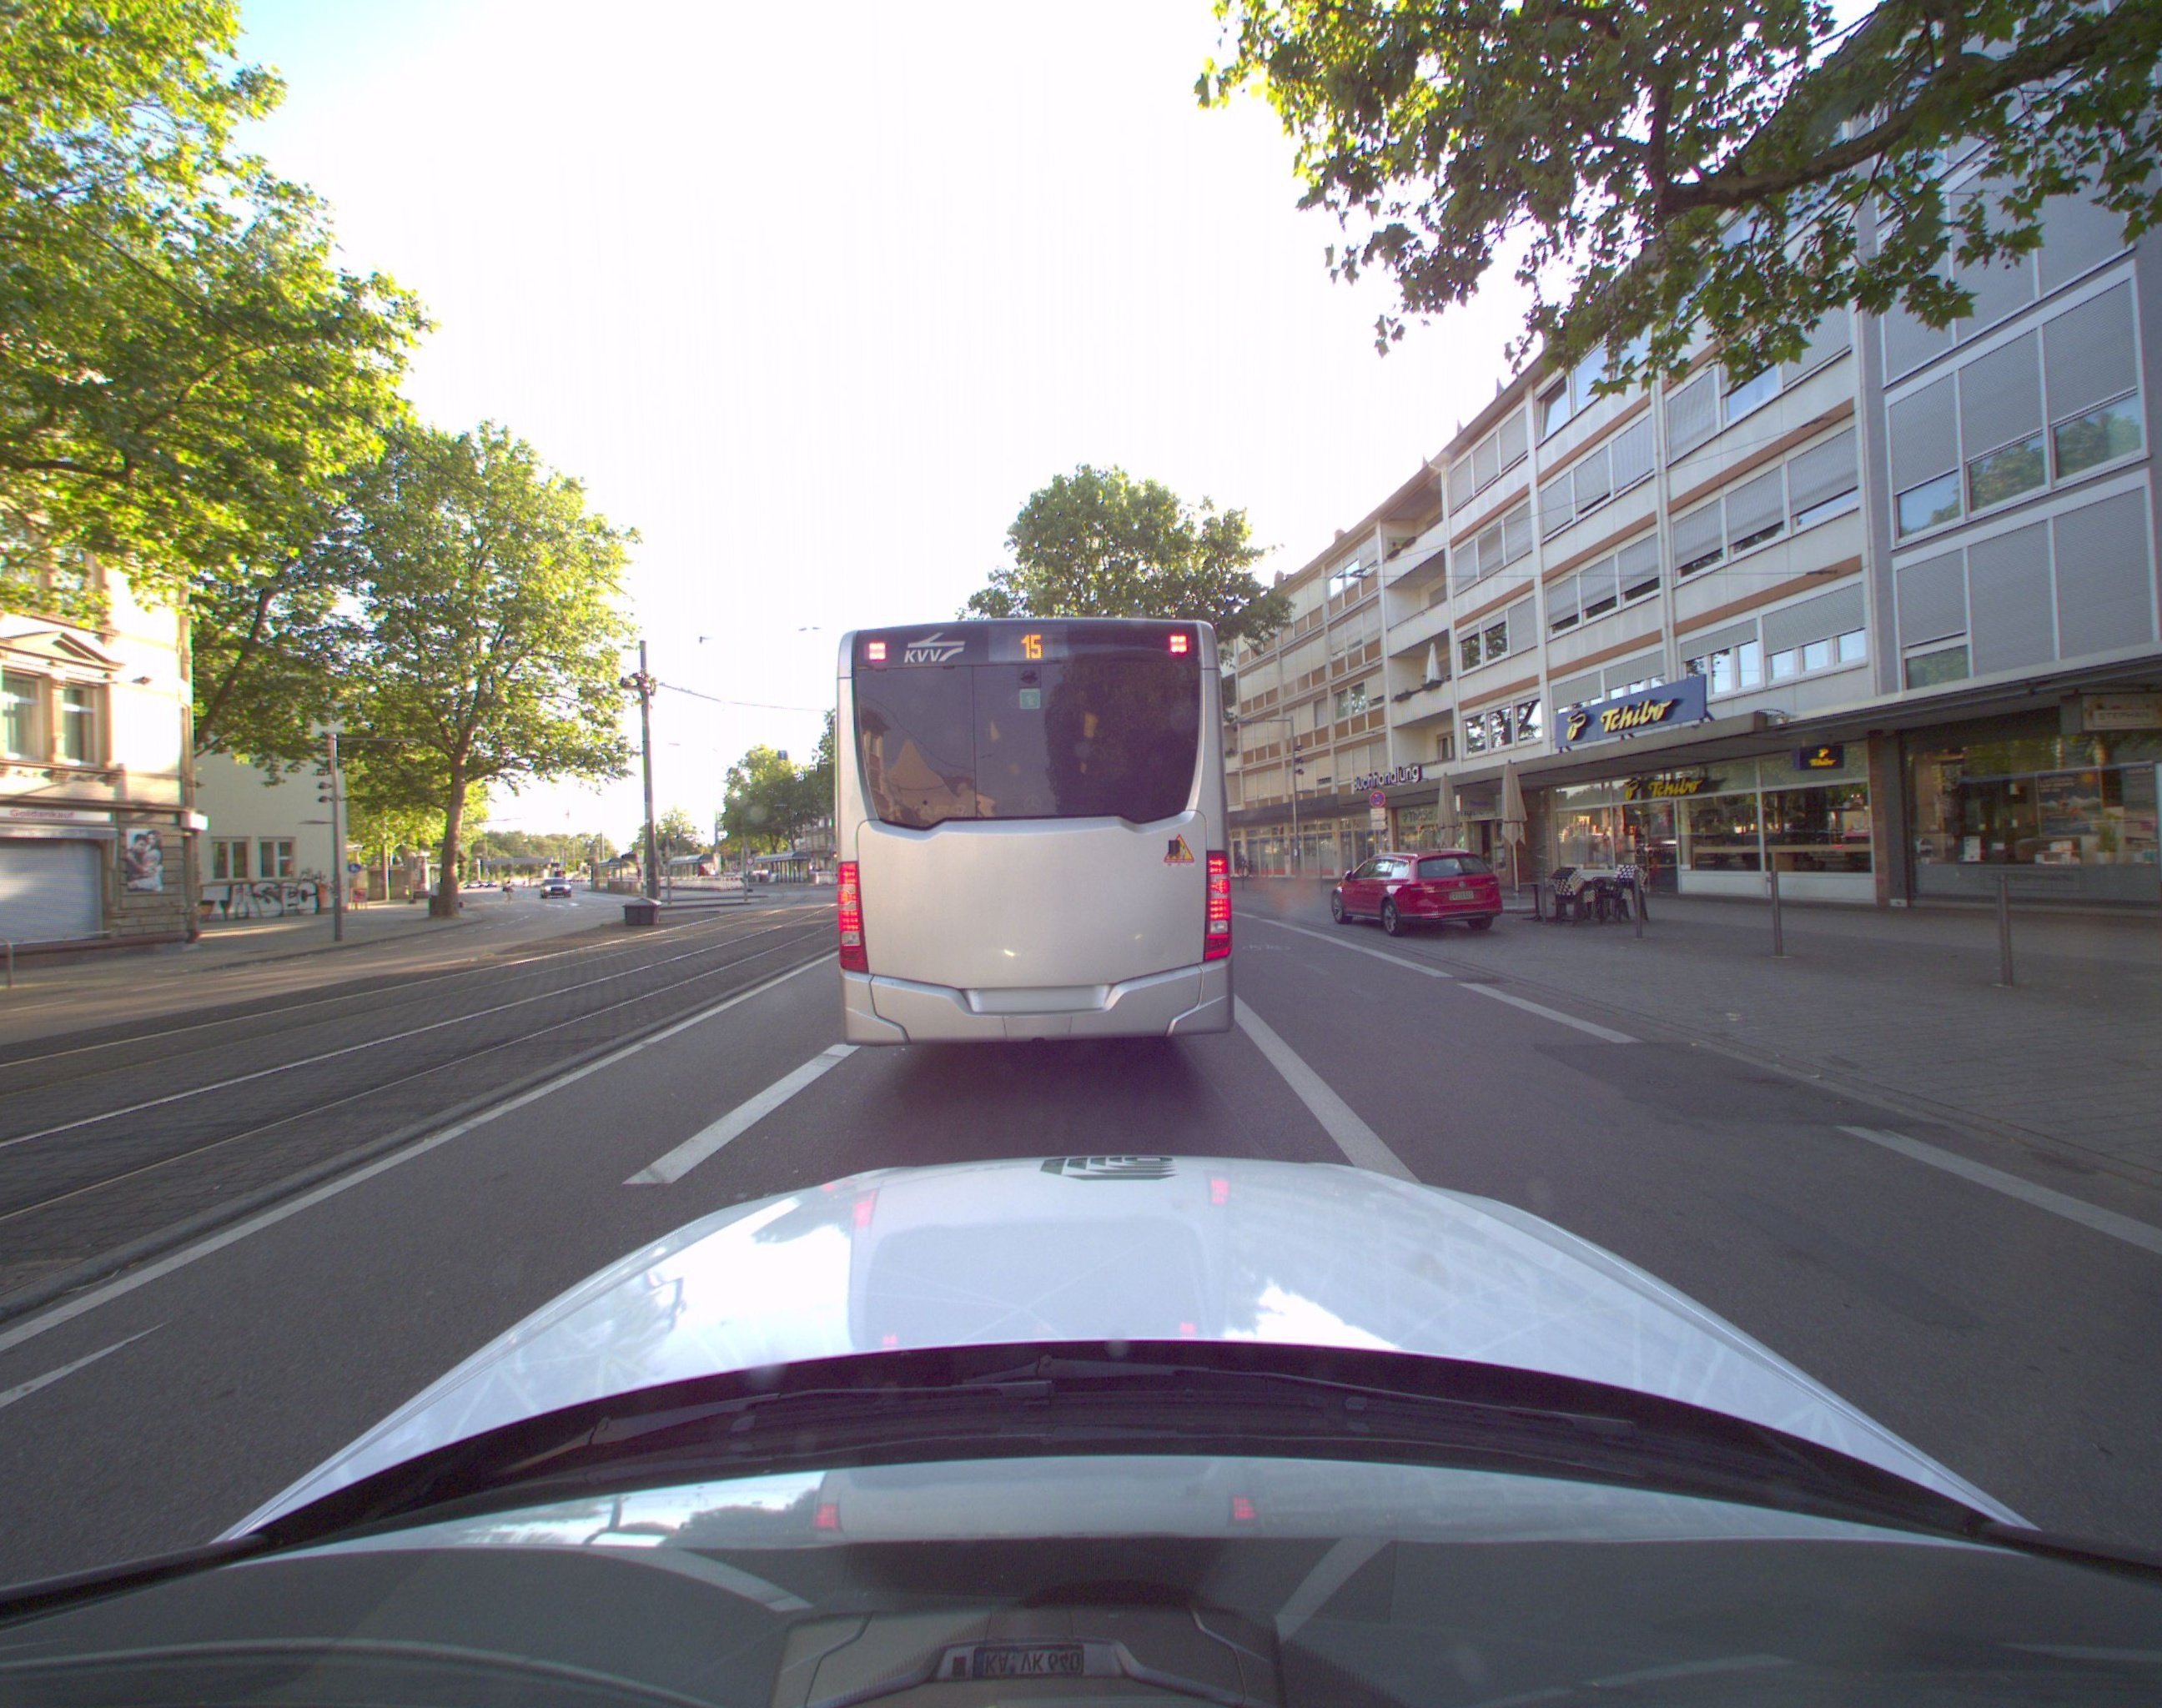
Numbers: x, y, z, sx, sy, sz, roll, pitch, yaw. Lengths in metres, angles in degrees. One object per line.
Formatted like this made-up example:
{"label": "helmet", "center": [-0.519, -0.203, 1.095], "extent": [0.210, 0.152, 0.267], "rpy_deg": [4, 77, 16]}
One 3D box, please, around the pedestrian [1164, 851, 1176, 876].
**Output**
{"label": "pedestrian", "center": [5.872, 0.647, 53.878], "extent": [0.536, 1.648, 0.612], "rpy_deg": [-2, -1, -15]}

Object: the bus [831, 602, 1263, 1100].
{"label": "bus", "center": [-0.063, 0.013, 10.023], "extent": [2.621, 3.028, 10.000], "rpy_deg": [-1, 0, 2]}

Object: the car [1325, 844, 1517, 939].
{"label": "car", "center": [6.357, 0.637, 15.820], "extent": [1.765, 1.482, 4.300], "rpy_deg": [-3, 0, -2]}

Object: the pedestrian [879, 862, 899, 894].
{"label": "pedestrian", "center": [-10.504, 1.308, 44.623], "extent": [0.994, 1.686, 0.642], "rpy_deg": [-1, -2, -10]}

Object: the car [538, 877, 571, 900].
{"label": "car", "center": [-40.188, 2.615, 62.212], "extent": [2.008, 1.640, 3.958], "rpy_deg": [-2, -1, -33]}

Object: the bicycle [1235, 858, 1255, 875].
{"label": "bicycle", "center": [9.216, 0.718, 45.664], "extent": [0.413, 0.945, 1.431], "rpy_deg": [-2, -1, -18]}

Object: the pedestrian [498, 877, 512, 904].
{"label": "pedestrian", "center": [-37.462, 2.374, 52.999], "extent": [0.661, 1.656, 0.438], "rpy_deg": [-2, -1, -41]}

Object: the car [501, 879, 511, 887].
{"label": "car", "center": [-130.073, 6.467, 184.202], "extent": [1.858, 1.684, 3.676], "rpy_deg": [-2, -1, -35]}

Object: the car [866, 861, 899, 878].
{"label": "car", "center": [-21.675, 1.712, 88.855], "extent": [2.010, 1.792, 3.954], "rpy_deg": [0, -1, -39]}

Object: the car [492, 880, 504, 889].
{"label": "car", "center": [-117.811, 6.081, 164.682], "extent": [1.858, 1.684, 3.676], "rpy_deg": [-2, -1, -35]}

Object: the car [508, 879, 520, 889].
{"label": "car", "center": [-111.430, 5.893, 160.021], "extent": [1.858, 1.684, 3.677], "rpy_deg": [-4, 1, -35]}

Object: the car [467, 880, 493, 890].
{"label": "car", "center": [-122.650, 6.318, 166.146], "extent": [1.768, 1.640, 4.024], "rpy_deg": [-3, -1, 44]}
